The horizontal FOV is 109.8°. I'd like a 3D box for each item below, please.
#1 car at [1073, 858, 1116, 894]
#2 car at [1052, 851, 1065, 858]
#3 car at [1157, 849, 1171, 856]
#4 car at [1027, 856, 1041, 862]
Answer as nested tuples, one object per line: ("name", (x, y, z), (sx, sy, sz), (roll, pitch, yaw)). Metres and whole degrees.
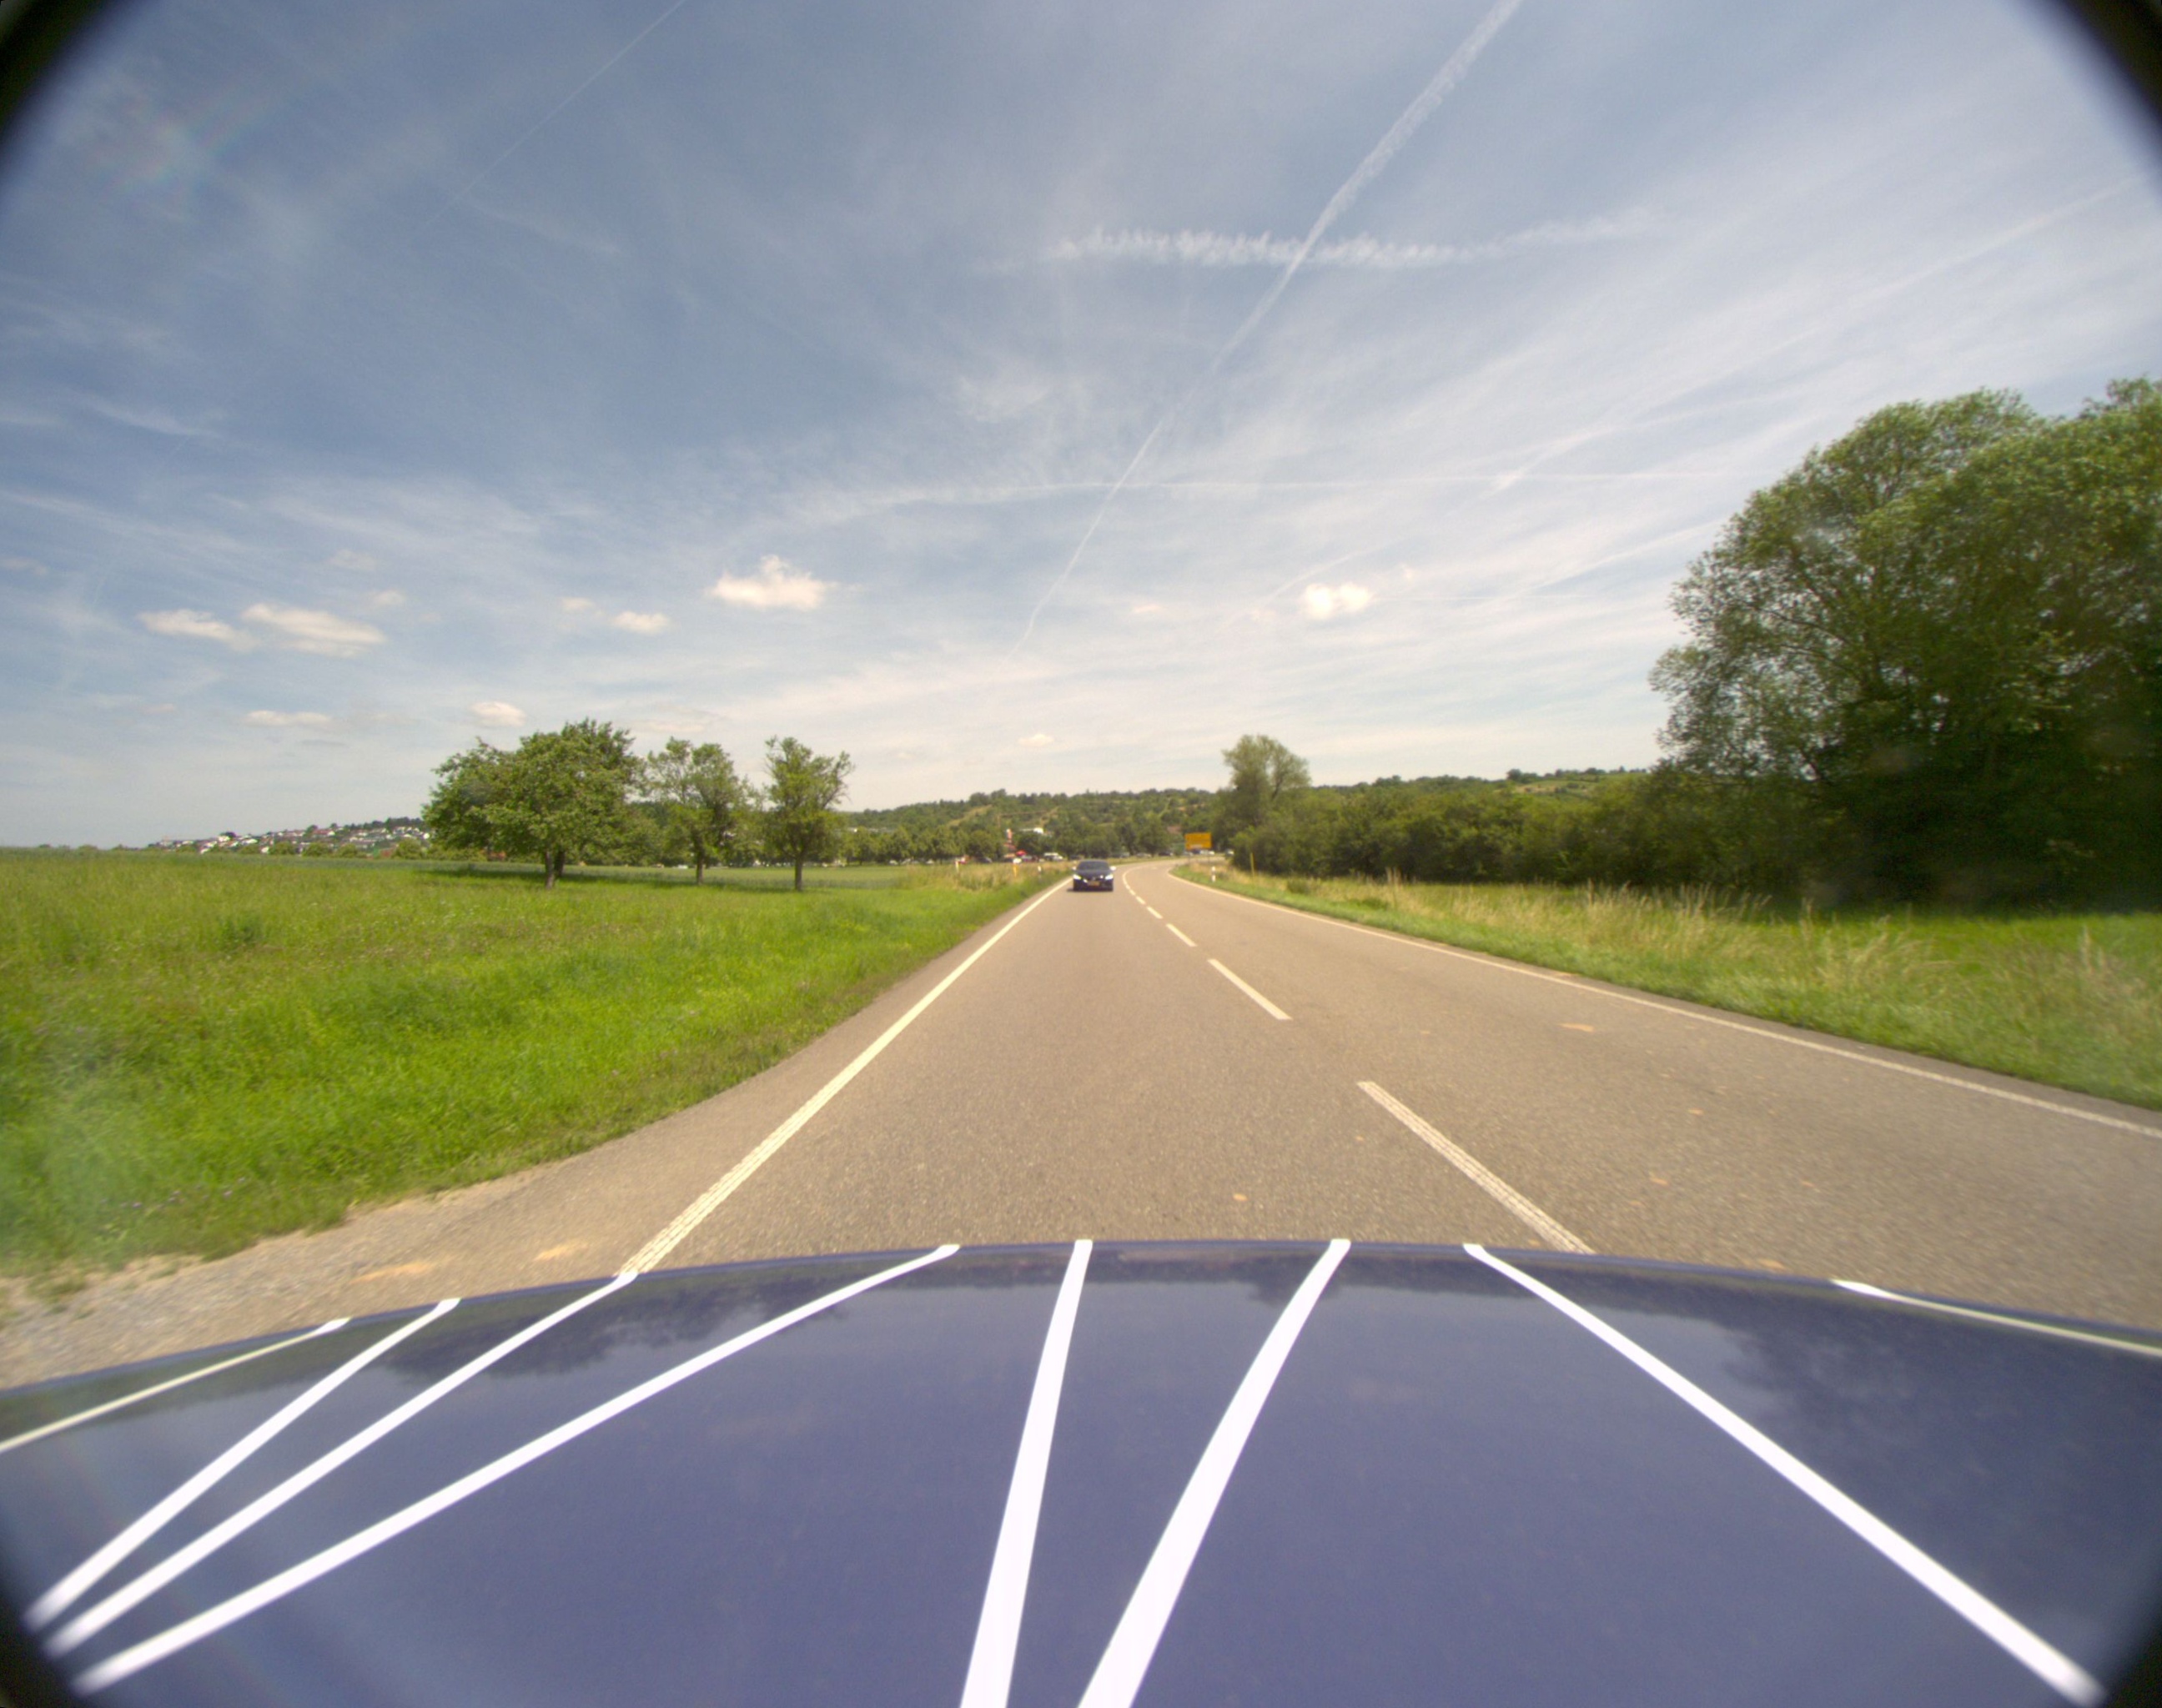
("car", (0.570, 0.921, 33.476), (1.785, 1.440, 4.604), (0, 0, 0))
("car", (-6.918, 0.243, 230.761), (3.997, 2.002, 1.887), (0, 1, -1))
("car", (24.716, -0.434, 226.023), (3.994, 2.002, 1.889), (0, 1, 9))
("car", (-14.281, 1.542, 230.946), (4.469, 2.002, 1.887), (0, 1, -3))
